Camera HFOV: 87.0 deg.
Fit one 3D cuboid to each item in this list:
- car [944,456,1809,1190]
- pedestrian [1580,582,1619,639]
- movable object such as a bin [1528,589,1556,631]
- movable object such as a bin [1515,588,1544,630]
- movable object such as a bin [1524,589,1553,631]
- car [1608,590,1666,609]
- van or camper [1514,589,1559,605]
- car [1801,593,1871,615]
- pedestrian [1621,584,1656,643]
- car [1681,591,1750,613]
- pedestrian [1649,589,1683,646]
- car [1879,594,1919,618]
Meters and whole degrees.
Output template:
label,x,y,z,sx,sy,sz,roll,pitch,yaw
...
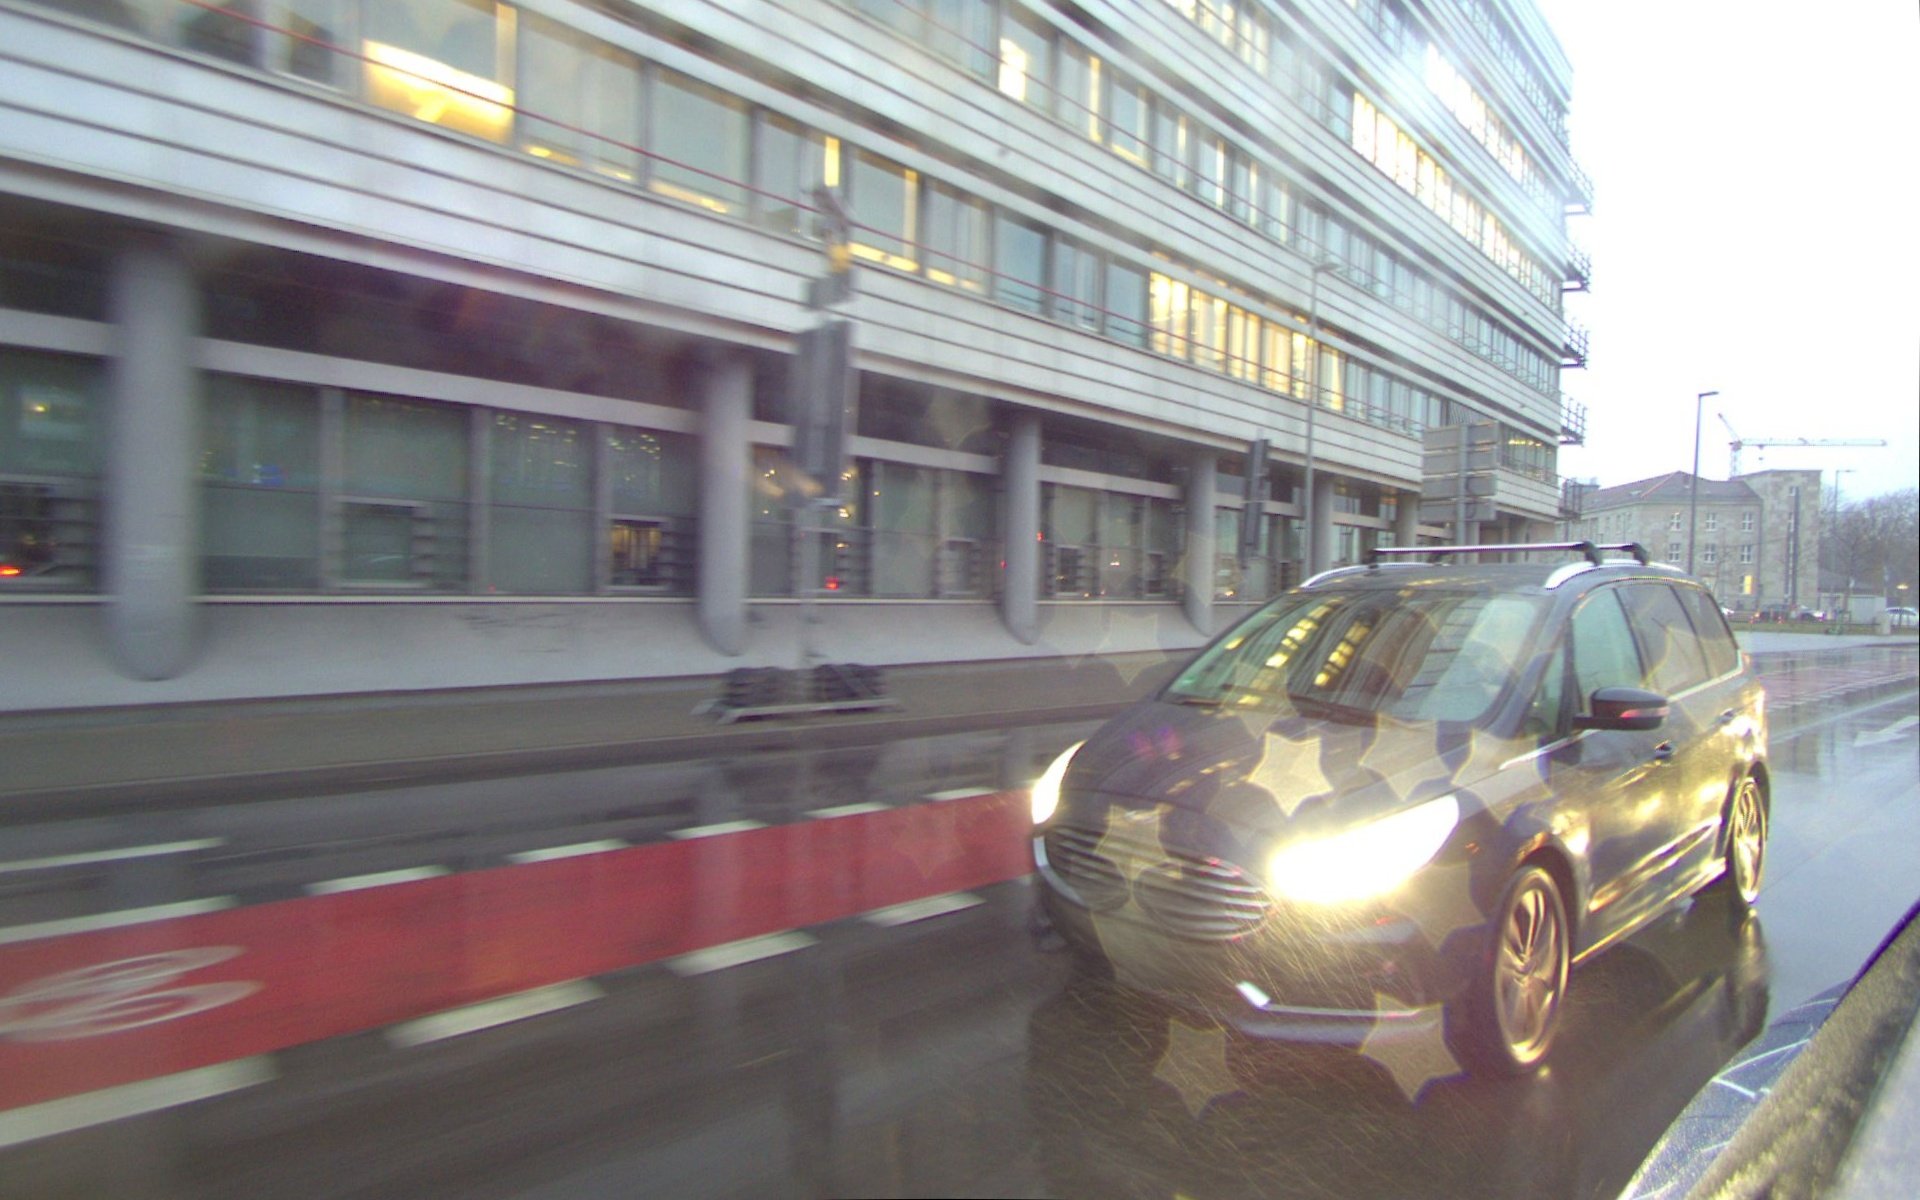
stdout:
label,x,y,z,sx,sy,sz,roll,pitch,yaw
car,2.286,0.555,4.754,4.588,1.834,1.886,0,0,-40
pedestrian,20.401,0.327,32.299,0.953,1.722,0.746,0,4,-45
movable object such as a bin,21.106,0.349,36.684,0.827,1.495,0.665,0,1,-44
movable object such as a bin,19.885,0.317,35.354,0.827,1.446,0.665,0,1,-44
movable object such as a bin,20.539,0.335,35.944,0.827,1.446,0.665,0,1,-44
car,63.131,-0.062,94.465,1.958,1.693,4.012,1,1,-25
van or camper,68.752,-0.385,120.784,1.958,1.874,4.386,1,0,-20
car,68.940,0.283,79.731,1.743,1.556,3.774,1,1,-24
pedestrian,20.831,0.406,31.065,0.870,1.723,0.650,0,3,-45
car,65.640,0.154,88.052,1.958,1.782,4.385,1,1,-25
pedestrian,21.301,0.517,30.534,0.870,1.689,0.615,0,3,-45
car,71.277,0.462,75.262,1.744,1.730,3.932,1,1,-27
